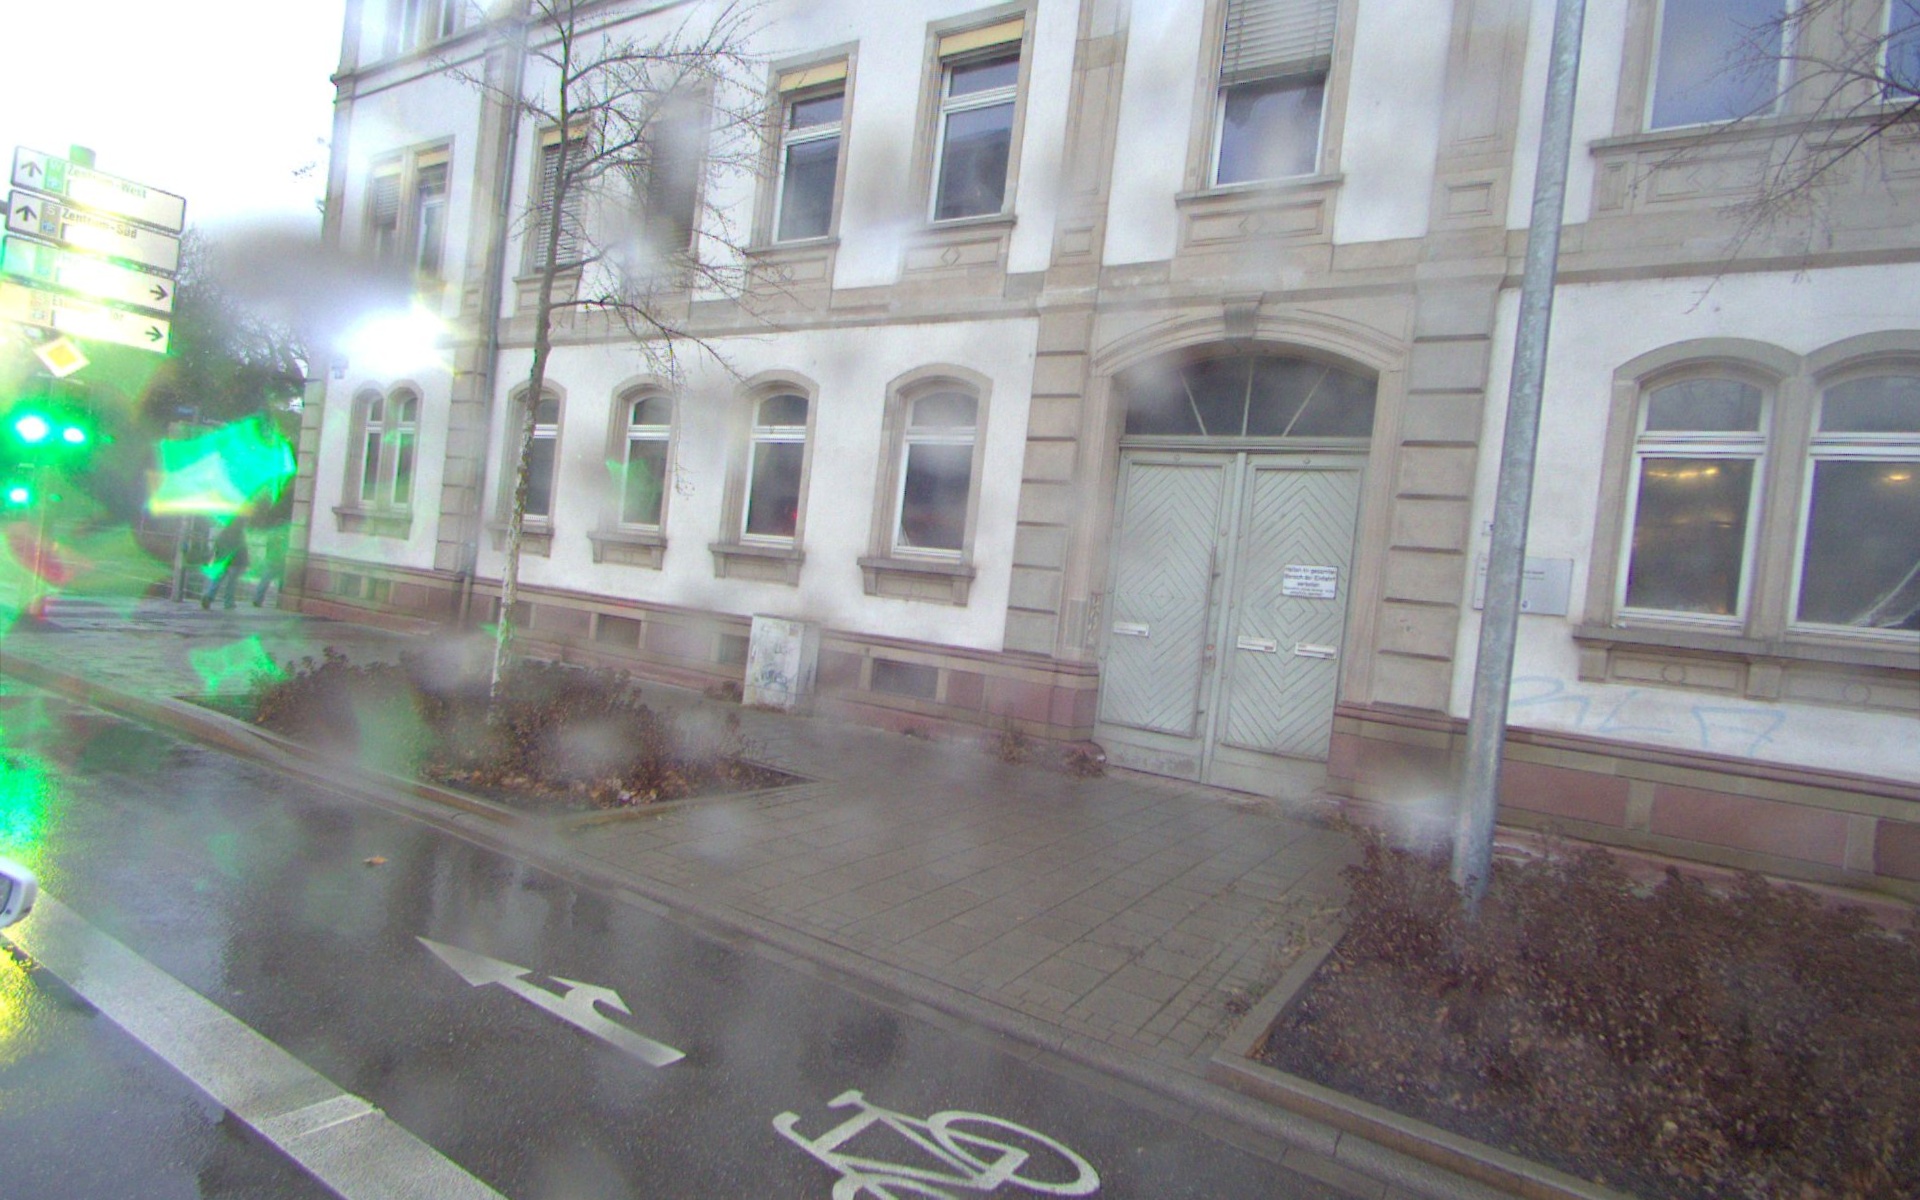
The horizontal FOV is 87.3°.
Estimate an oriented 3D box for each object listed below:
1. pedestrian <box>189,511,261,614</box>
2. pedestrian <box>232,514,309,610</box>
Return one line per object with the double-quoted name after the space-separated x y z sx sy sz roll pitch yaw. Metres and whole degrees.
-12.388 -0.633 16.947 0.778 1.597 1.000 8 -1 -39 "pedestrian"
-12.889 -0.693 18.833 0.773 1.651 1.007 7 -1 -19 "pedestrian"
